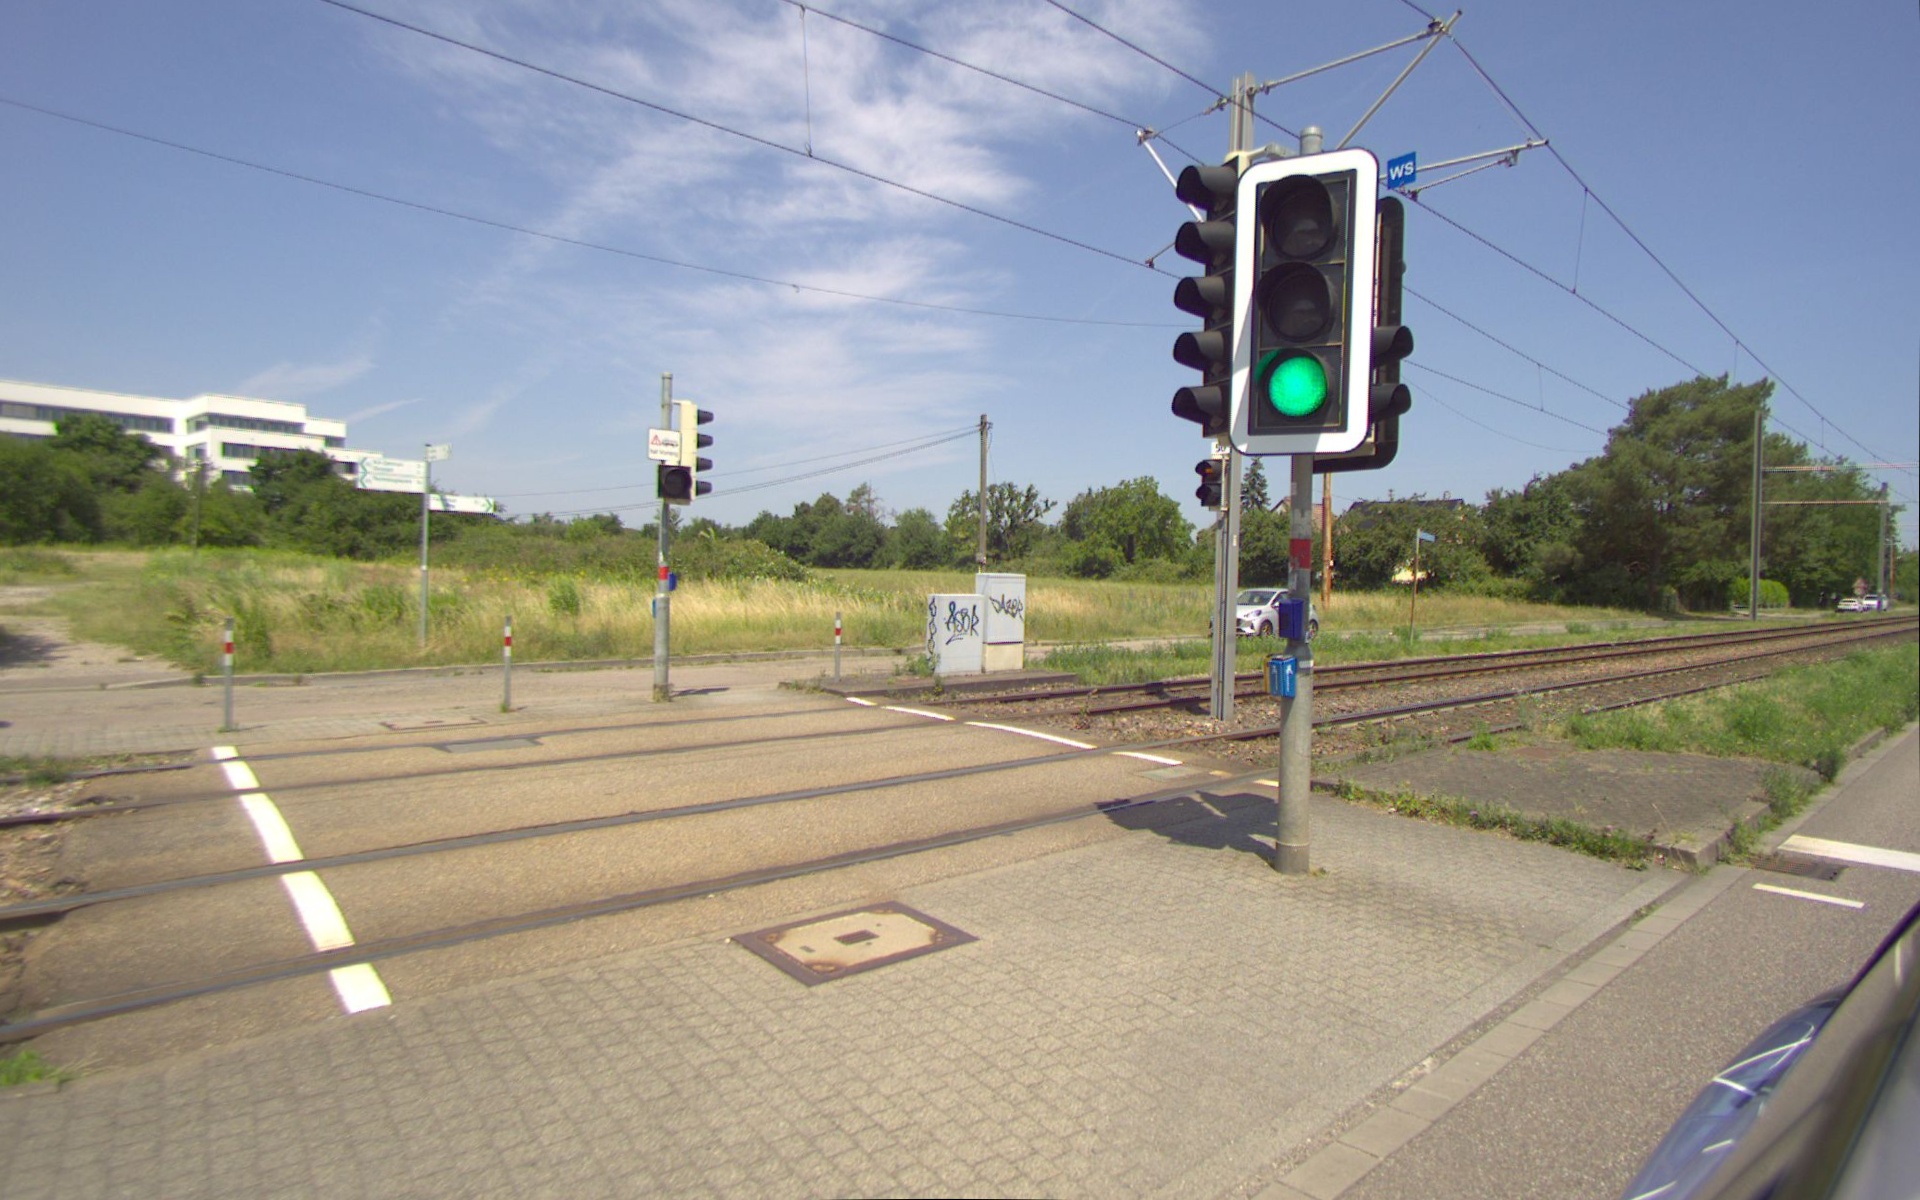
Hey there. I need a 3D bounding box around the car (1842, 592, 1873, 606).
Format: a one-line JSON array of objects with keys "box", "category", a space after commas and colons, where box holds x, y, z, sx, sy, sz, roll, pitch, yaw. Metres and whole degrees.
[{"box": [91.810, -0.102, 103.532, 3.931, 1.401, 1.921, -1, 1, -41], "category": "car"}]

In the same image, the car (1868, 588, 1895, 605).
[{"box": [106.271, -0.407, 116.695, 4.508, 1.849, 1.861, -1, 1, -41], "category": "car"}]

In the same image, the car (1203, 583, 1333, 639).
[{"box": [8.880, 0.266, 29.058, 3.931, 1.507, 1.716, 0, 1, -40], "category": "car"}]
